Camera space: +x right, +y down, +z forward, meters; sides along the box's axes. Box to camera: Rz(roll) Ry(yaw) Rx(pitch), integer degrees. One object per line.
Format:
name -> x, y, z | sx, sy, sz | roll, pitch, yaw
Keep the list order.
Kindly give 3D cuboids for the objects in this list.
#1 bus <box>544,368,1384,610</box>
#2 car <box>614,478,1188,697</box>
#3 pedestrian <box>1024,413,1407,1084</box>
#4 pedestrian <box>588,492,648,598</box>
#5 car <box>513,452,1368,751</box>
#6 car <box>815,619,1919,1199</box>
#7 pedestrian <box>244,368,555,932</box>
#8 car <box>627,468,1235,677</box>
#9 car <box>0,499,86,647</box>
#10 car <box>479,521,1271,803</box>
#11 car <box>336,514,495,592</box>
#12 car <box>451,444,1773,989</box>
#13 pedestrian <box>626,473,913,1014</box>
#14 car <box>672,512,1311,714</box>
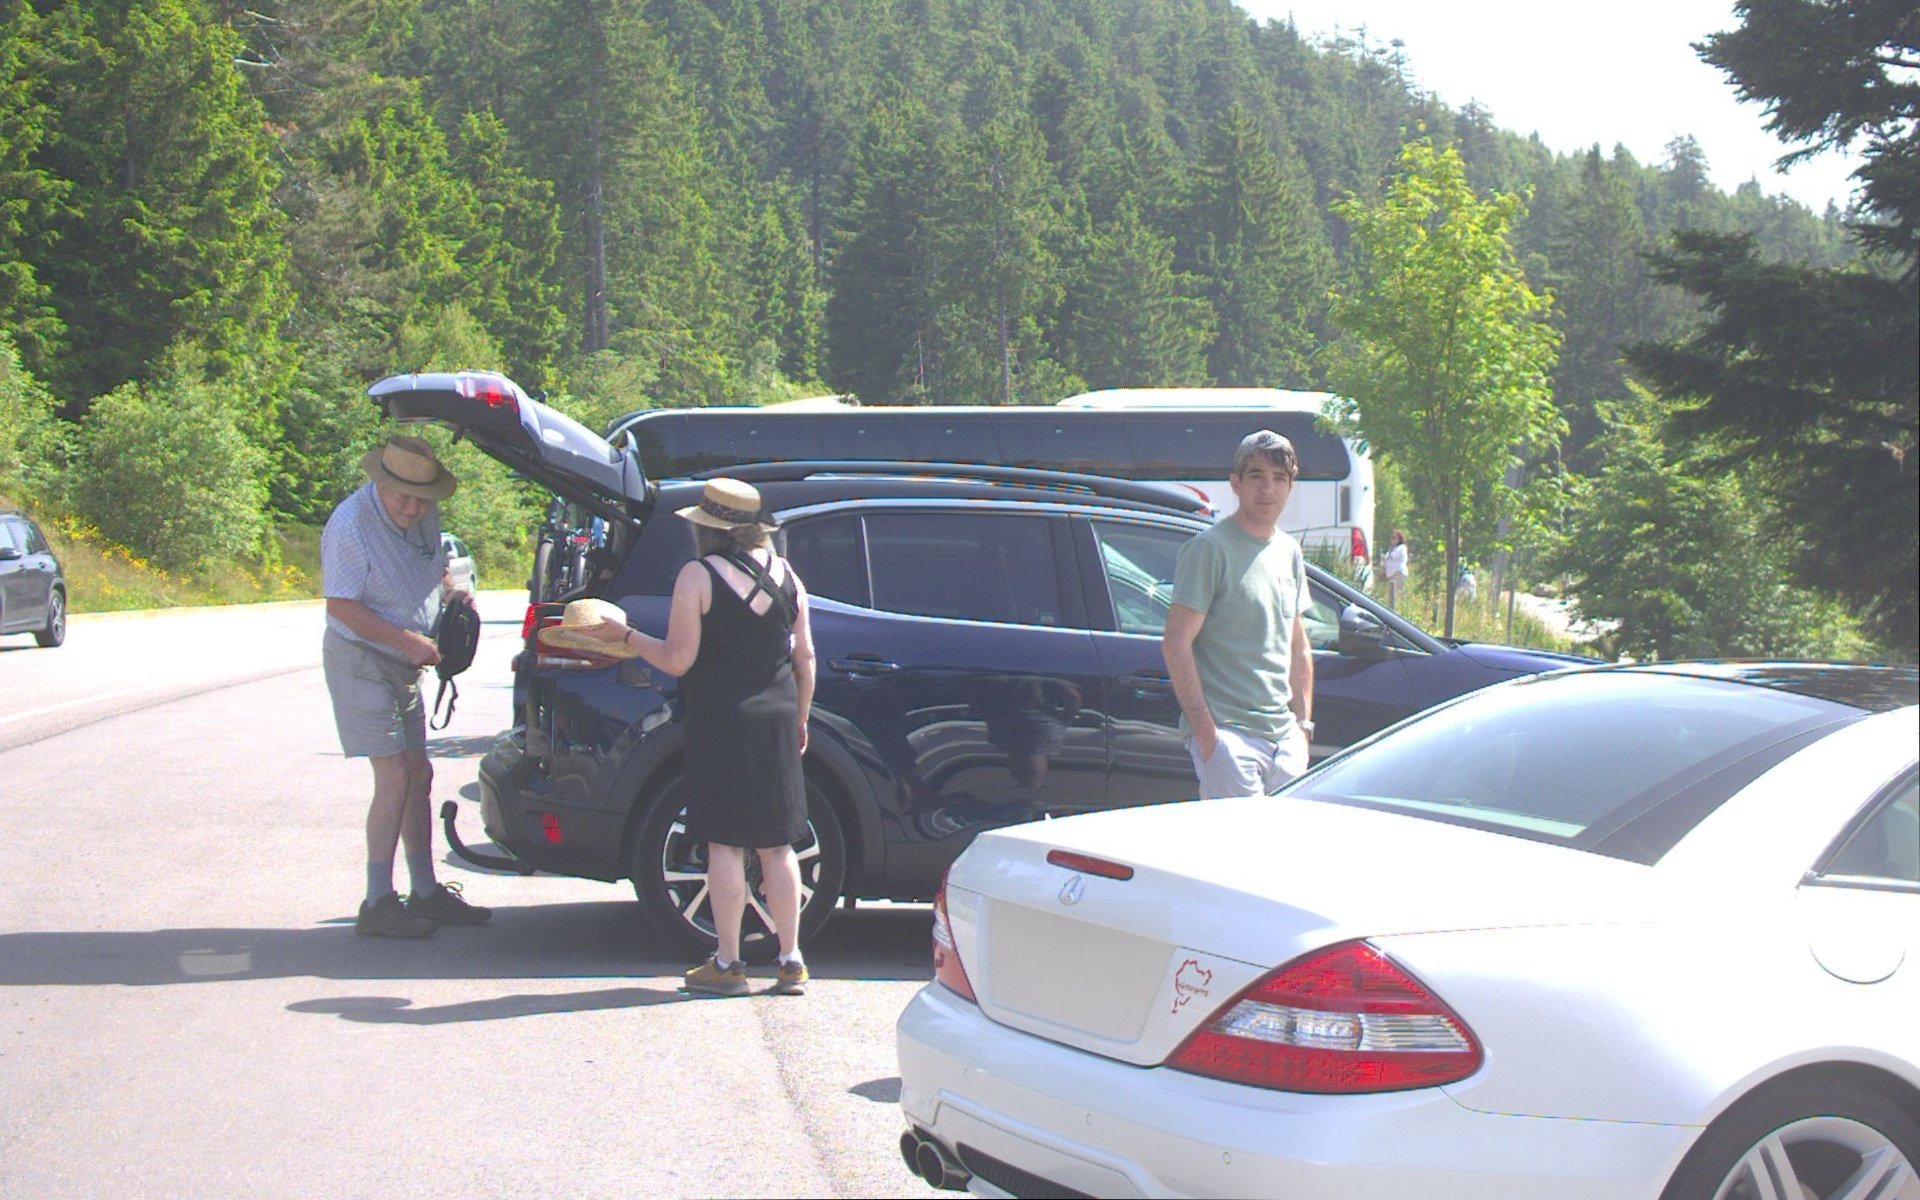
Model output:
bus -> 0.151, -1.738, 54.969 | 13.097, 3.520, 3.043 | -1, 1, 8
car -> -0.470, -0.120, 26.490 | 4.243, 1.548, 1.838 | -1, 1, -3
pedestrian -> 0.716, 0.395, 9.705 | 0.746, 1.794, 0.736 | 1, 0, -35
pedestrian -> -5.206, -0.840, 52.364 | 0.770, 1.579, 0.772 | -1, 1, 4
car -> -0.119, -0.018, 20.929 | 4.949, 1.690, 1.945 | -1, 1, -1
car -> 2.099, 0.775, 6.764 | 4.397, 1.291, 1.756 | 2, 2, -26
pedestrian -> -1.939, 0.141, 11.926 | 0.736, 1.864, 0.757 | 3, 4, 27
car -> -0.278, -0.259, 29.616 | 5.033, 1.645, 2.048 | -1, 1, -3
car -> -11.694, -0.326, 39.933 | 1.993, 1.641, 4.568 | -2, 2, -2
car -> -0.523, 0.316, 18.696 | 4.080, 1.372, 1.703 | 1, 1, -9
car -> -10.751, -0.959, 68.201 | 1.879, 1.469, 4.713 | 0, 1, 7
car -> 0.425, 0.394, 12.214 | 4.343, 1.620, 1.870 | 3, 0, -8
pedestrian -> -0.591, 0.427, 10.586 | 0.714, 1.607, 0.537 | 1, 0, -23
car -> 0.179, 0.058, 23.834 | 4.243, 1.264, 1.838 | -1, 1, -3
